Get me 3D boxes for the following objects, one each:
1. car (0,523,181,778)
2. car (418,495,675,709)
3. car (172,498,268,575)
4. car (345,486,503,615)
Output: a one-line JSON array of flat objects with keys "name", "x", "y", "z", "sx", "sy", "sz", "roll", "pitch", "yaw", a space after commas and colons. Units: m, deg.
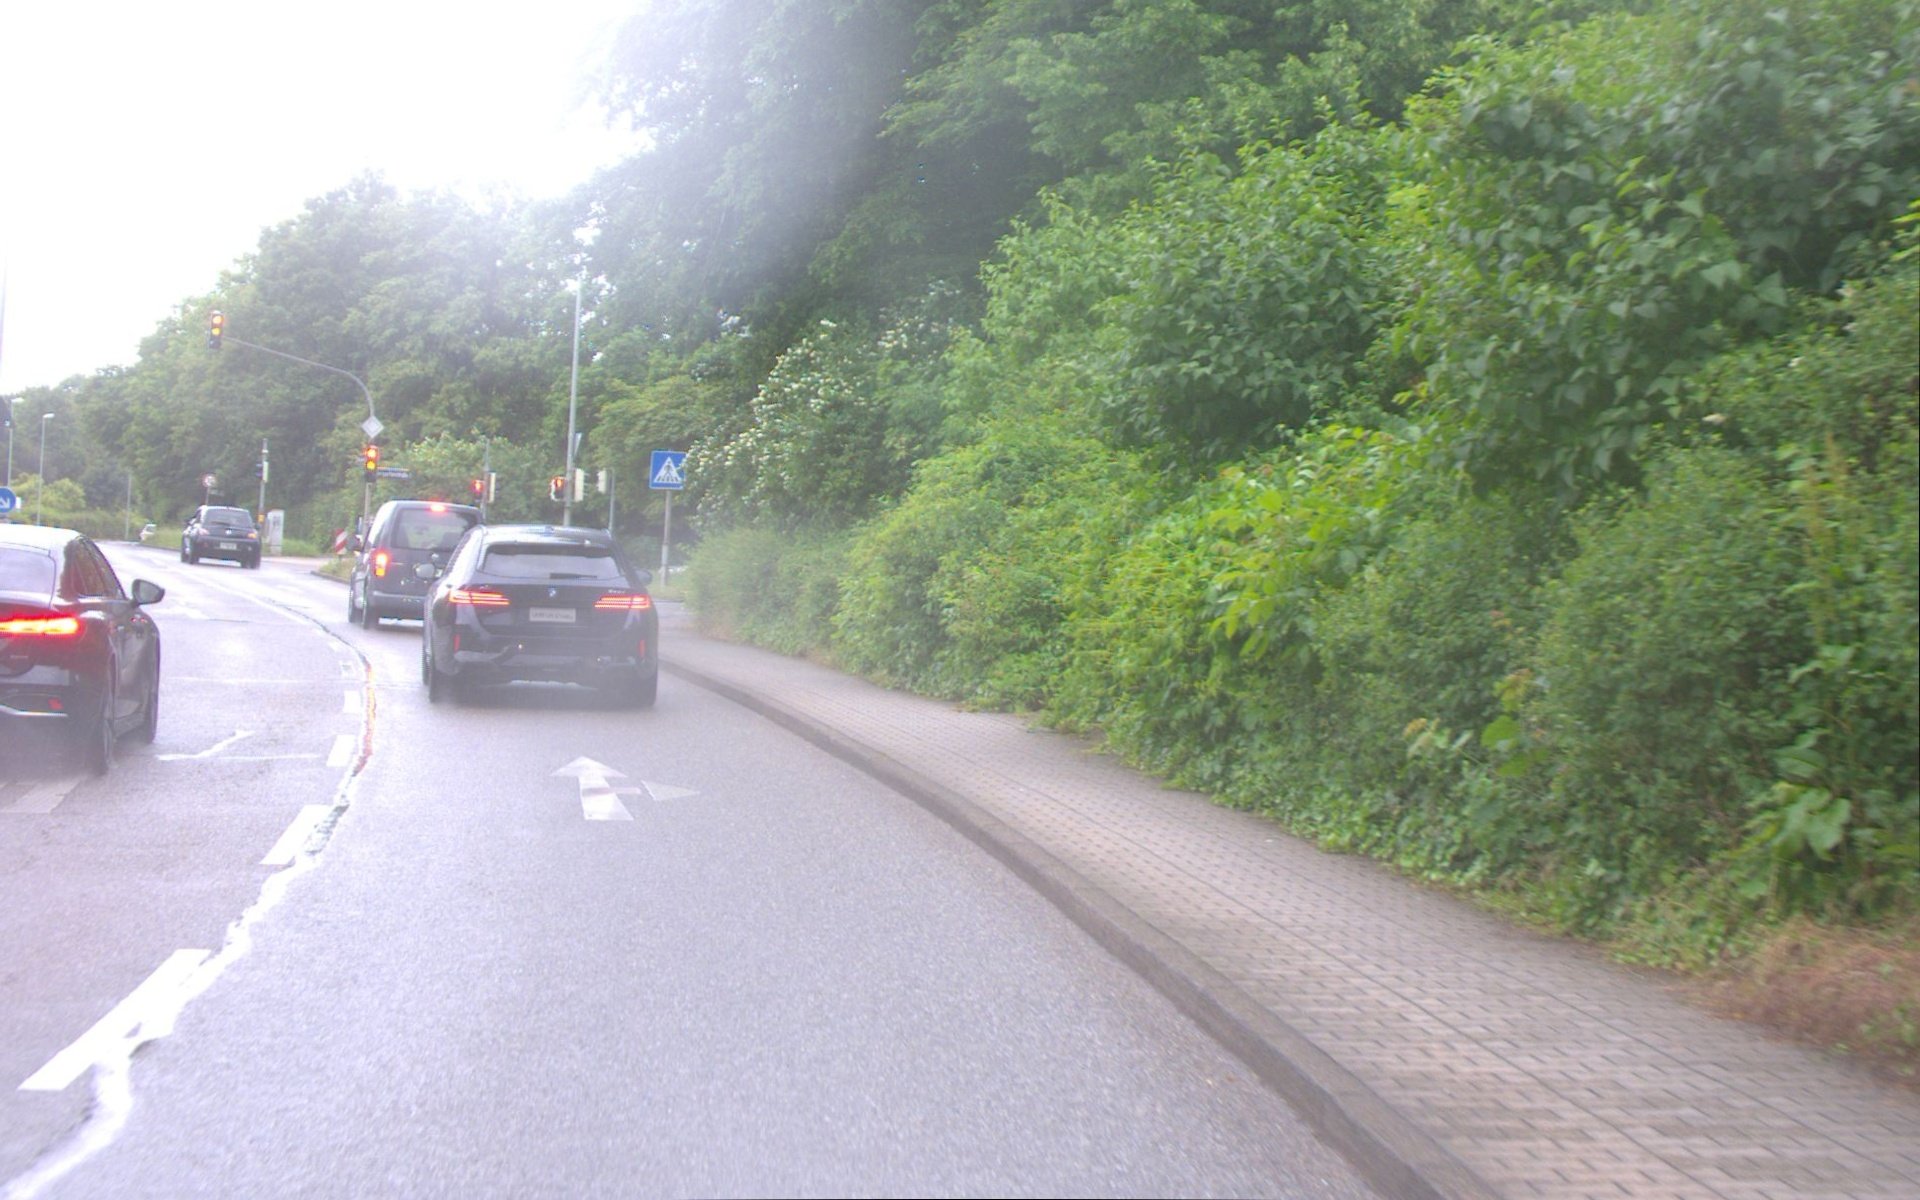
[{"name": "car", "x": -5.955, "y": 0.224, "z": 21.115, "sx": 1.905, "sy": 1.393, "sz": 4.858, "roll": 0, "pitch": 1, "yaw": -8}, {"name": "car", "x": -3.635, "y": -0.049, "z": 29.934, "sx": 1.993, "sy": 1.580, "sz": 4.665, "roll": 2, "pitch": 2, "yaw": -8}, {"name": "car", "x": -18.245, "y": -1.540, "z": 84.643, "sx": 1.850, "sy": 1.656, "sz": 4.001, "roll": 3, "pitch": -2, "yaw": -18}, {"name": "car", "x": -7.665, "y": -0.696, "z": 48.935, "sx": 1.993, "sy": 1.742, "sz": 4.001, "roll": 1, "pitch": 1, "yaw": -12}]
